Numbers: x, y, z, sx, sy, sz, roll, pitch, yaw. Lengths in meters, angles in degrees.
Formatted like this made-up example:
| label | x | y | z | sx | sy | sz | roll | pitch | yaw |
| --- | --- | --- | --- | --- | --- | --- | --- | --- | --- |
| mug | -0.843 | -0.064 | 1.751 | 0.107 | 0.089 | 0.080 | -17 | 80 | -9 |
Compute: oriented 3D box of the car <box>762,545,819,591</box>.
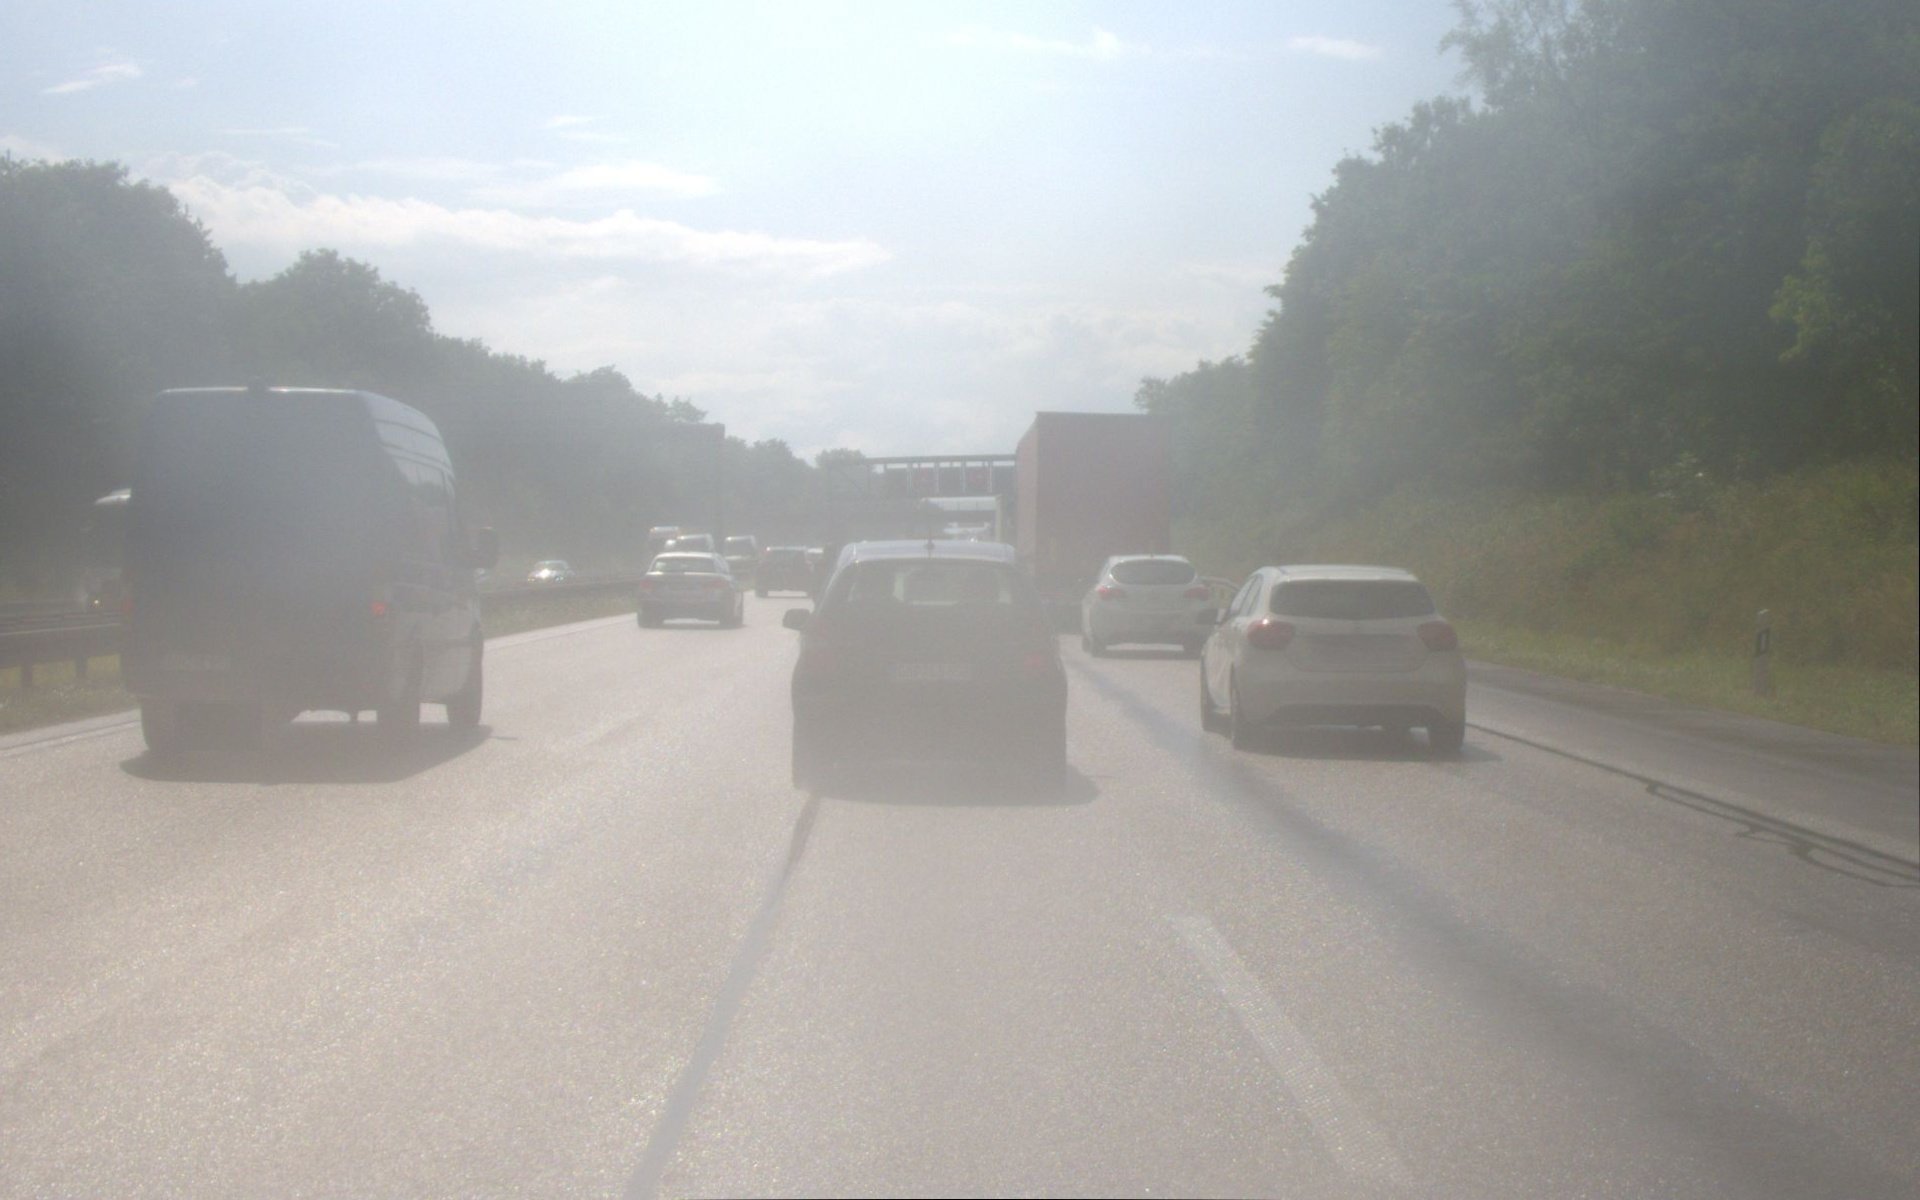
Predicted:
| label | x | y | z | sx | sy | sz | roll | pitch | yaw |
| --- | --- | --- | --- | --- | --- | --- | --- | --- | --- |
| car | -5.458 | -1.044 | 111.144 | 1.751 | 1.452 | 3.390 | 1 | 1 | -1 |

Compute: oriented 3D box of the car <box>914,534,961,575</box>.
| label | x | y | z | sx | sy | sz | roll | pitch | yaw |
| --- | --- | --- | --- | --- | --- | --- | --- | --- | --- |
| car | -0.785 | -1.595 | 119.698 | 1.552 | 1.378 | 3.210 | 1 | 1 | -1 |

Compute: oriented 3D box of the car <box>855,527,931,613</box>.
| label | x | y | z | sx | sy | sz | roll | pitch | yaw |
| --- | --- | --- | --- | --- | --- | --- | --- | --- | --- |
| car | -1.411 | -0.641 | 72.266 | 1.531 | 1.740 | 3.485 | 1 | 1 | -1 |

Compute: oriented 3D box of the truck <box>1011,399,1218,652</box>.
| label | x | y | z | sx | sy | sz | roll | pitch | yaw |
| --- | --- | --- | --- | --- | --- | --- | --- | --- | --- |
| truck | 3.026 | -1.499 | 72.805 | 3.650 | 4.704 | 16.779 | 1 | 1 | 0 |

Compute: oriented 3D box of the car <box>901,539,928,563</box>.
| label | x | y | z | sx | sy | sz | roll | pitch | yaw |
| --- | --- | --- | --- | --- | --- | --- | --- | --- | --- |
| car | -3.365 | -3.639 | 254.773 | 1.993 | 1.722 | 4.000 | 0 | 1 | 0 |

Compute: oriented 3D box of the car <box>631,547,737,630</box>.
| label | x | y | z | sx | sy | sz | roll | pitch | yaw |
| --- | --- | --- | --- | --- | --- | --- | --- | --- | --- |
| car | -5.385 | -0.241 | 67.382 | 1.854 | 1.546 | 3.485 | 1 | 1 | -1 |

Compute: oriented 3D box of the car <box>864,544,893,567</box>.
| label | x | y | z | sx | sy | sz | roll | pitch | yaw |
| --- | --- | --- | --- | --- | --- | --- | --- | --- | --- |
| car | -4.548 | -2.470 | 191.473 | 1.549 | 1.262 | 3.485 | 1 | 1 | -2 |

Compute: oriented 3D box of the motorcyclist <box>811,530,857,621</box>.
| label | x | y | z | sx | sy | sz | roll | pitch | yaw |
| --- | --- | --- | --- | --- | --- | --- | --- | --- | --- |
| motorcyclist | -2.294 | -0.448 | 62.620 | 0.801 | 1.627 | 1.013 | 1 | 1 | -1 |

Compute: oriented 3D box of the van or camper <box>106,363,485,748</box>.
| label | x | y | z | sx | sy | sz | roll | pitch | yaw |
| --- | --- | --- | --- | --- | --- | --- | --- | --- | --- |
| van or camper | -5.012 | -0.345 | 26.701 | 1.993 | 2.659 | 5.385 | 1 | 1 | -1 |

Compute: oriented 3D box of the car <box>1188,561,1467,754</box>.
| label | x | y | z | sx | sy | sz | roll | pitch | yaw |
| --- | --- | --- | --- | --- | --- | --- | --- | --- | --- |
| car | 2.893 | 0.405 | 27.860 | 1.692 | 1.420 | 4.220 | 1 | 1 | -1 |

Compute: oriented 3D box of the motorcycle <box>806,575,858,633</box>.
| label | x | y | z | sx | sy | sz | roll | pitch | yaw |
| --- | --- | --- | --- | --- | --- | --- | --- | --- | --- |
| motorcycle | -2.317 | 0.065 | 62.671 | 0.890 | 0.997 | 2.896 | 1 | 1 | -1 |

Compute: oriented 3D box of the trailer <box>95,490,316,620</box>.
| label | x | y | z | sx | sy | sz | roll | pitch | yaw |
| --- | --- | --- | --- | --- | --- | --- | --- | --- | --- |
| trailer | -24.136 | -1.444 | 111.267 | 2.990 | 3.818 | 17.952 | 1 | 1 | 1 |

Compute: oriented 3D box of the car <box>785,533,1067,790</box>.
| label | x | y | z | sx | sy | sz | roll | pitch | yaw |
| --- | --- | --- | --- | --- | --- | --- | --- | --- | --- |
| car | -0.254 | 0.358 | 22.928 | 1.717 | 1.562 | 3.485 | 1 | 1 | -1 |

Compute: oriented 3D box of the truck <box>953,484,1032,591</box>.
| label | x | y | z | sx | sy | sz | roll | pitch | yaw |
| --- | --- | --- | --- | --- | --- | --- | --- | --- | --- |
| truck | 1.383 | -2.700 | 150.689 | 3.256 | 4.464 | 12.421 | 1 | 1 | 0 |

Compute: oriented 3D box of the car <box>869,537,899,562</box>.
| label | x | y | z | sx | sy | sz | roll | pitch | yaw |
| --- | --- | --- | --- | --- | --- | --- | --- | --- | --- |
| car | -5.184 | -3.448 | 234.627 | 1.993 | 1.695 | 4.000 | 0 | 1 | -1 |

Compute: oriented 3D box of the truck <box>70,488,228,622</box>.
| label | x | y | z | sx | sy | sz | roll | pitch | yaw |
| --- | --- | --- | --- | --- | --- | --- | --- | --- | --- |
| truck | -24.235 | -1.346 | 103.089 | 2.990 | 3.818 | 6.864 | 1 | 1 | 1 |

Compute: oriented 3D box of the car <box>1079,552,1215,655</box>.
| label | x | y | z | sx | sy | sz | roll | pitch | yaw |
| --- | --- | --- | --- | --- | --- | --- | --- | --- | --- |
| car | 2.721 | 0.025 | 50.732 | 1.680 | 1.437 | 3.905 | 1 | 1 | -1 |

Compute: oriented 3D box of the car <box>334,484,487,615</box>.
| label | x | y | z | sx | sy | sz | roll | pitch | yaw |
| --- | --- | --- | --- | --- | --- | --- | --- | --- | --- |
| car | -10.728 | -0.984 | 67.514 | 2.183 | 2.444 | 5.748 | 1 | 1 | -1 |

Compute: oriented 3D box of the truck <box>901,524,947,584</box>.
| label | x | y | z | sx | sy | sz | roll | pitch | yaw |
| --- | --- | --- | --- | --- | --- | --- | --- | --- | --- |
| truck | -1.792 | -2.280 | 170.618 | 2.192 | 2.865 | 4.850 | 1 | 1 | -1 |

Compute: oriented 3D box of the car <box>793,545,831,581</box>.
| label | x | y | z | sx | sy | sz | roll | pitch | yaw |
| --- | --- | --- | --- | --- | --- | --- | --- | --- | --- |
| car | -5.965 | -1.498 | 139.040 | 1.460 | 1.389 | 3.312 | 1 | 1 | -1 |
